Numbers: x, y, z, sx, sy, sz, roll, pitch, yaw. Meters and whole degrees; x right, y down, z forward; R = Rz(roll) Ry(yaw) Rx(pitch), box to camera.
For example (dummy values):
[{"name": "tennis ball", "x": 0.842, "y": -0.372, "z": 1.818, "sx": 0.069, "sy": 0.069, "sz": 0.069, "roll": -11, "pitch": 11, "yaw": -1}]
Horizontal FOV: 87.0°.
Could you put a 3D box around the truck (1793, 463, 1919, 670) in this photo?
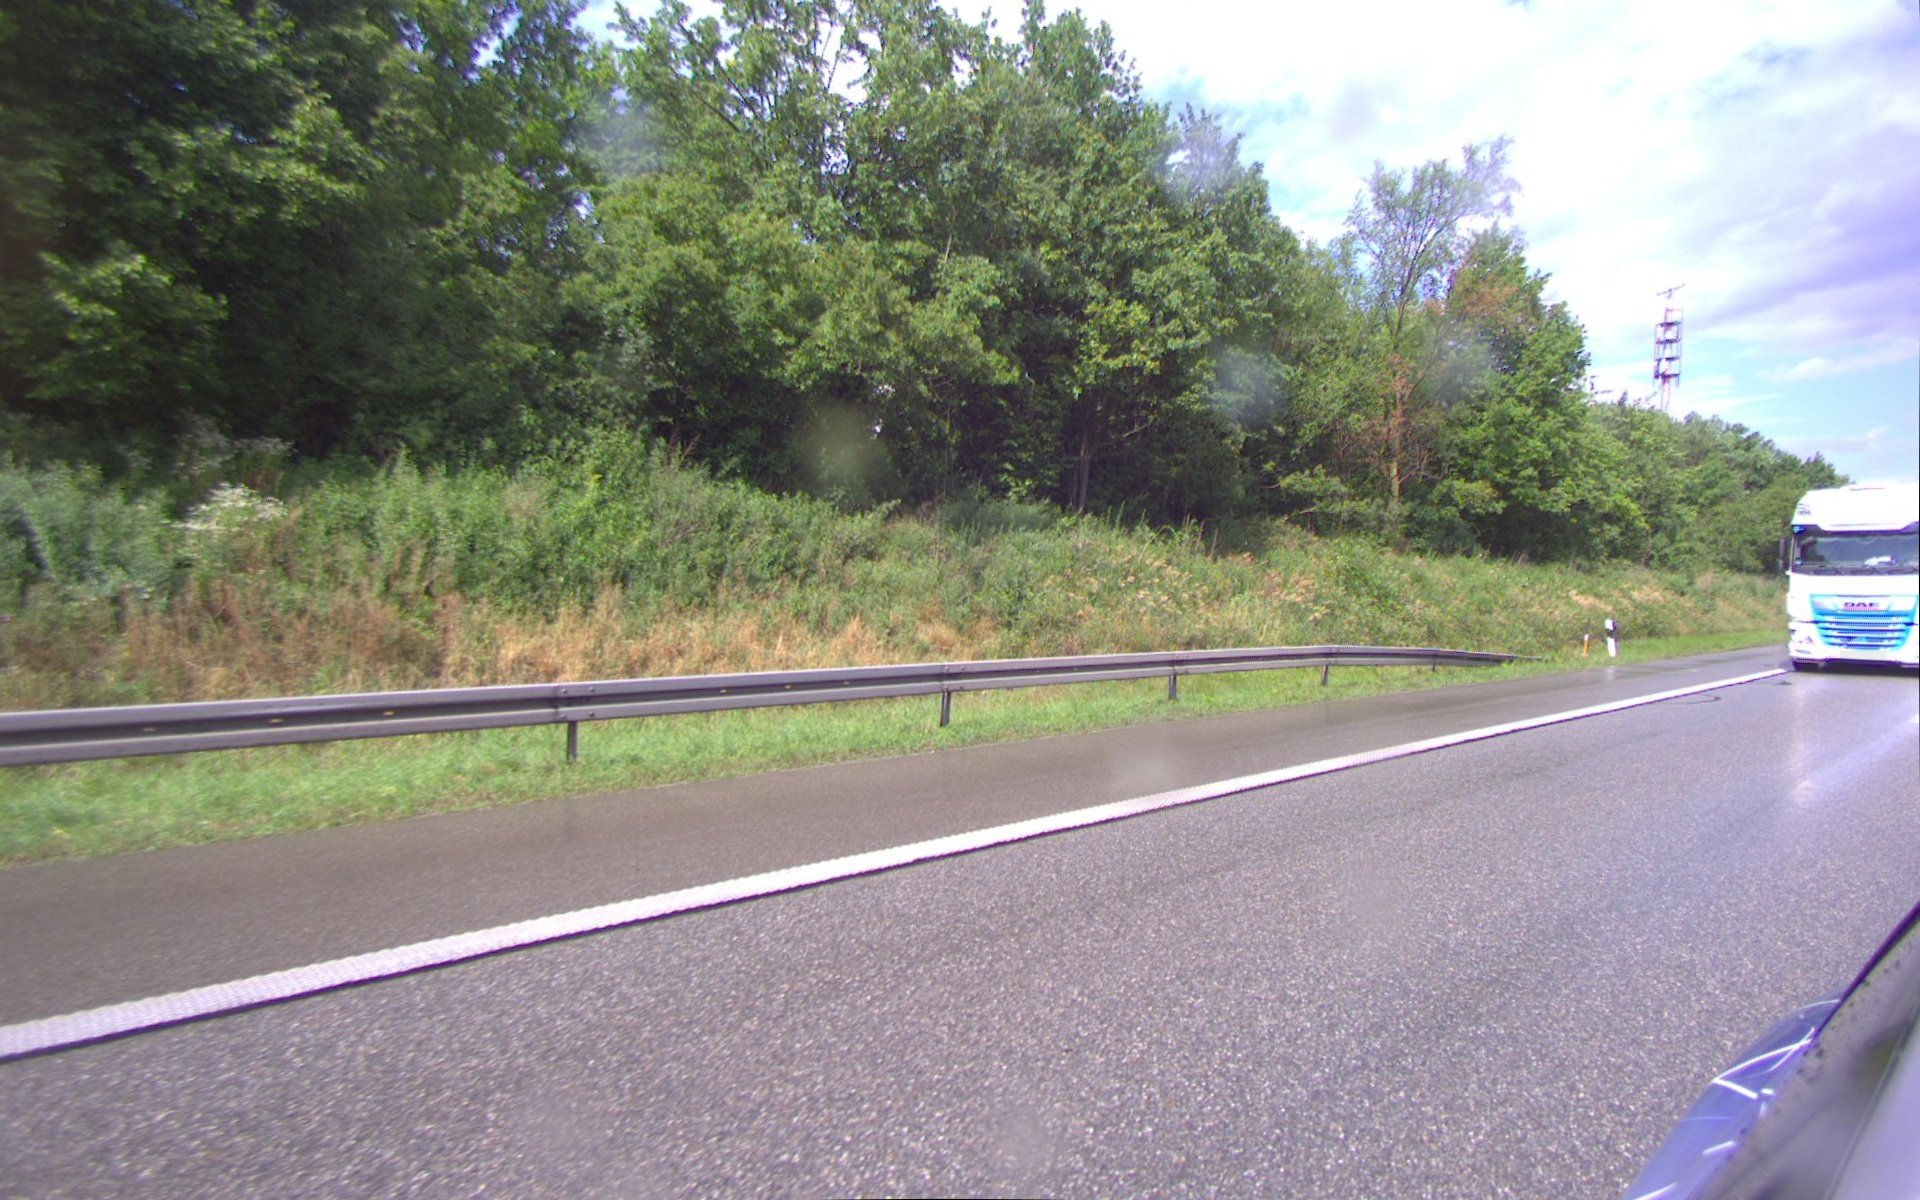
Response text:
[{"name": "truck", "x": 21.037, "y": -0.680, "z": 22.639, "sx": 7.164, "sy": 4.046, "sz": 2.611, "roll": 0, "pitch": 0, "yaw": -42}]

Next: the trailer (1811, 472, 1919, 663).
[{"name": "trailer", "x": 25.187, "y": -0.734, "z": 26.363, "sx": 13.821, "sy": 4.046, "sz": 2.638, "roll": 0, "pitch": 0, "yaw": -42}]
